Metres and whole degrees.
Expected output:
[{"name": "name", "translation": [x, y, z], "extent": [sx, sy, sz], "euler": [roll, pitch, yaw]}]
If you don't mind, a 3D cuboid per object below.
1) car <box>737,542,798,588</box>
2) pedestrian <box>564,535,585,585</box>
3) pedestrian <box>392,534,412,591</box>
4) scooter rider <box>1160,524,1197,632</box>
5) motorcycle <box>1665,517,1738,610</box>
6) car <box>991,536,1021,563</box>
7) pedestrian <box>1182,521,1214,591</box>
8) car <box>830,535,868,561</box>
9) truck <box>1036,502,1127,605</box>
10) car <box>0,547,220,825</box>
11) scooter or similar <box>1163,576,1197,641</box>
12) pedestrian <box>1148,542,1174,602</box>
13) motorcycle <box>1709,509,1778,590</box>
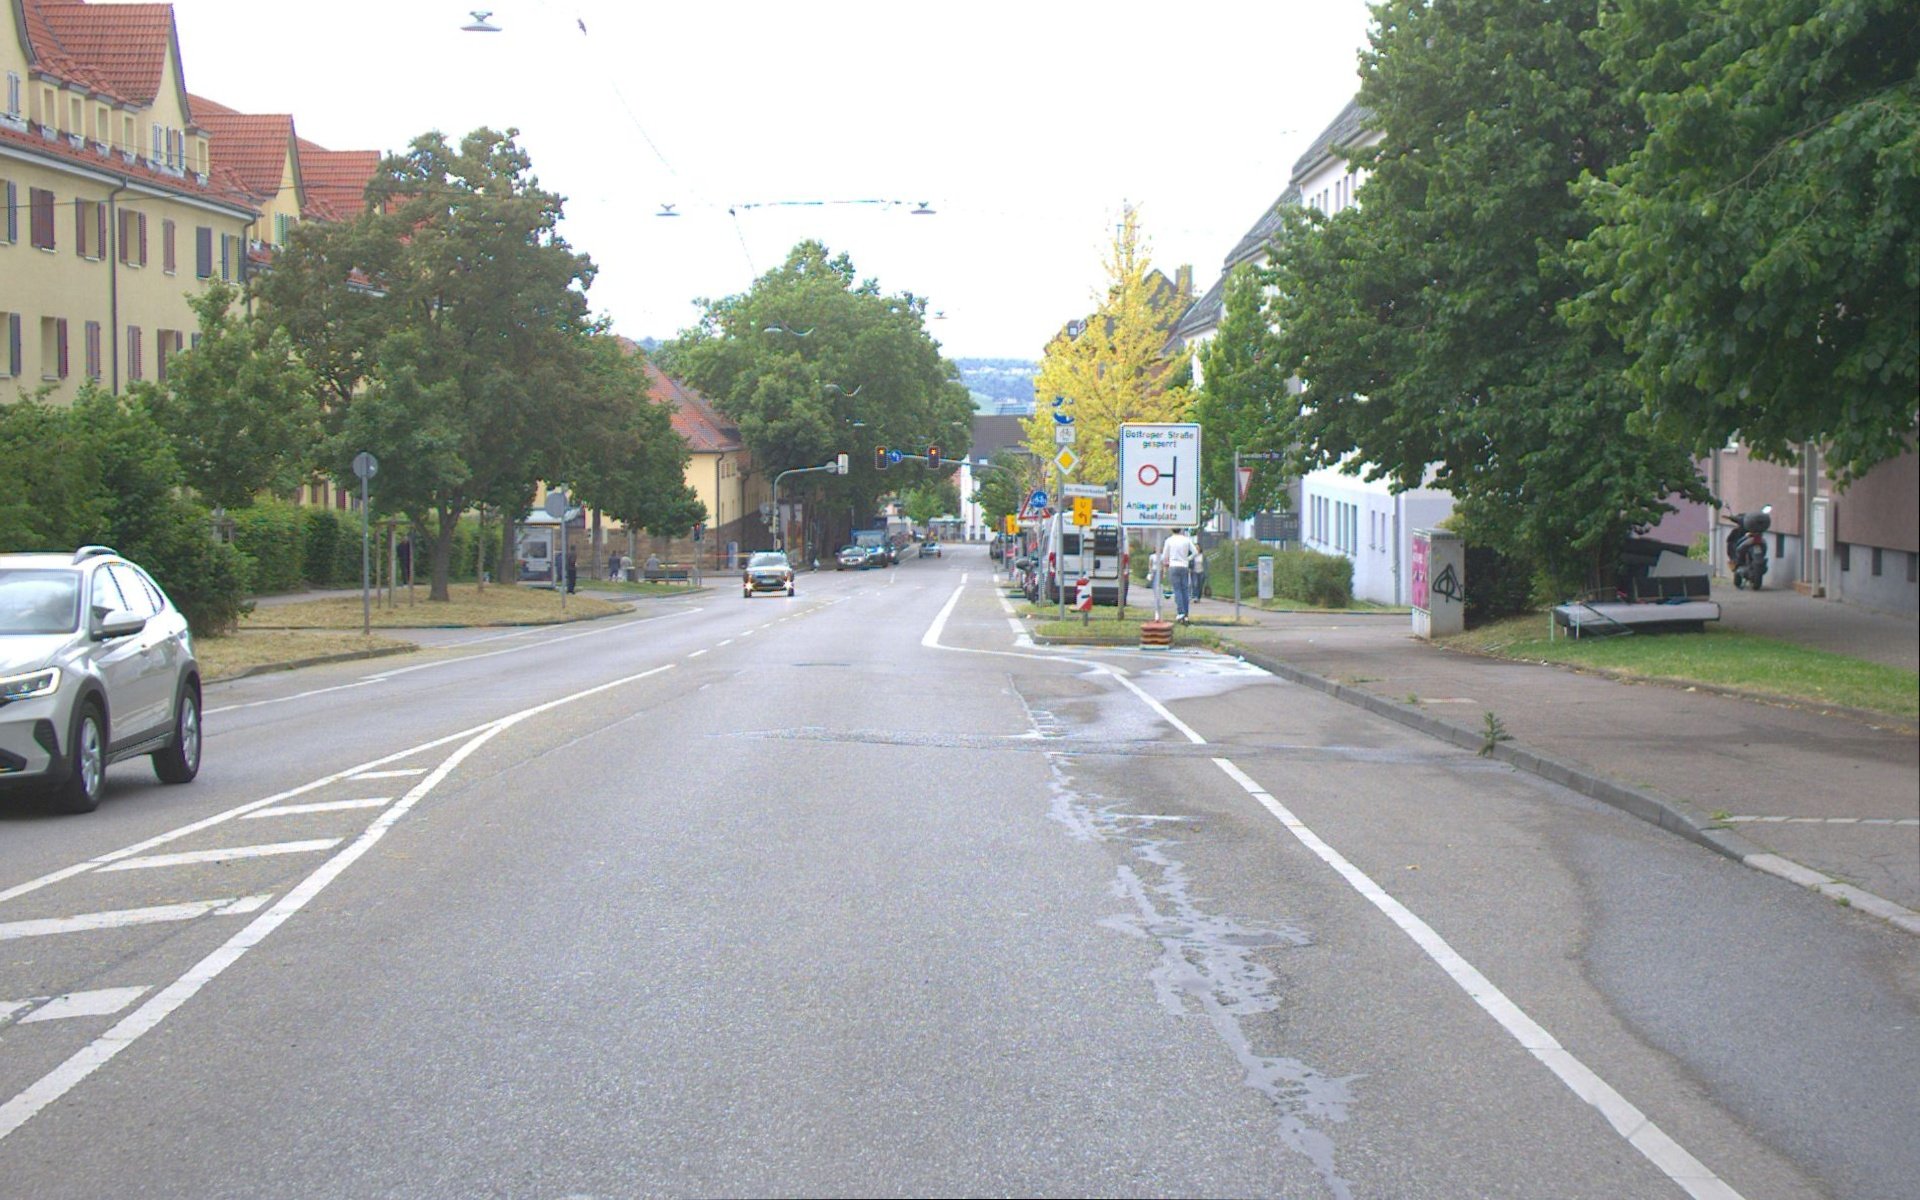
[{"name": "car", "translation": [-6.928, -1.273, 124.165], "extent": [1.899, 1.614, 4.362], "euler": [0, 1, 1]}, {"name": "pedestrian", "translation": [-13.396, -1.403, 119.487], "extent": [0.597, 1.721, 0.861], "euler": [1, 1, 3]}, {"name": "pedestrian", "translation": [-17.733, -1.194, 109.242], "extent": [0.513, 1.773, 0.753], "euler": [0, 1, 0]}, {"name": "scooter rider", "translation": [4.114, -0.416, 64.716], "extent": [0.625, 2.007, 0.758], "euler": [0, 1, 0]}, {"name": "motorcycle", "translation": [12.848, -0.650, 59.613], "extent": [0.731, 1.564, 2.550], "euler": [0, 1, 1]}, {"name": "car", "translation": [3.410, -3.788, 255.605], "extent": [1.993, 1.929, 4.919], "euler": [0, 1, -2]}, {"name": "pedestrian", "translation": [6.452, -1.192, 93.064], "extent": [0.670, 1.880, 0.766], "euler": [-1, 0, -12]}, {"name": "car", "translation": [-6.372, -2.989, 197.191], "extent": [1.756, 1.467, 4.306], "euler": [-1, 1, 4]}, {"name": "truck", "translation": [3.073, -1.217, 88.133], "extent": [2.052, 2.556, 5.690], "euler": [0, 1, -1]}, {"name": "car", "translation": [-5.755, 0.451, 20.543], "extent": [1.801, 1.459, 4.030], "euler": [-1, 1, -1]}, {"name": "scooter or similar", "translation": [4.134, 0.150, 64.761], "extent": [0.490, 1.159, 2.075], "euler": [0, 1, 0]}, {"name": "pedestrian", "translation": [5.470, -0.762, 93.596], "extent": [0.576, 1.638, 0.562], "euler": [0, 0, -14]}, {"name": "motorcycle", "translation": [12.113, -0.788, 53.201], "extent": [0.590, 1.223, 1.967], "euler": [0, 1, 0]}]
